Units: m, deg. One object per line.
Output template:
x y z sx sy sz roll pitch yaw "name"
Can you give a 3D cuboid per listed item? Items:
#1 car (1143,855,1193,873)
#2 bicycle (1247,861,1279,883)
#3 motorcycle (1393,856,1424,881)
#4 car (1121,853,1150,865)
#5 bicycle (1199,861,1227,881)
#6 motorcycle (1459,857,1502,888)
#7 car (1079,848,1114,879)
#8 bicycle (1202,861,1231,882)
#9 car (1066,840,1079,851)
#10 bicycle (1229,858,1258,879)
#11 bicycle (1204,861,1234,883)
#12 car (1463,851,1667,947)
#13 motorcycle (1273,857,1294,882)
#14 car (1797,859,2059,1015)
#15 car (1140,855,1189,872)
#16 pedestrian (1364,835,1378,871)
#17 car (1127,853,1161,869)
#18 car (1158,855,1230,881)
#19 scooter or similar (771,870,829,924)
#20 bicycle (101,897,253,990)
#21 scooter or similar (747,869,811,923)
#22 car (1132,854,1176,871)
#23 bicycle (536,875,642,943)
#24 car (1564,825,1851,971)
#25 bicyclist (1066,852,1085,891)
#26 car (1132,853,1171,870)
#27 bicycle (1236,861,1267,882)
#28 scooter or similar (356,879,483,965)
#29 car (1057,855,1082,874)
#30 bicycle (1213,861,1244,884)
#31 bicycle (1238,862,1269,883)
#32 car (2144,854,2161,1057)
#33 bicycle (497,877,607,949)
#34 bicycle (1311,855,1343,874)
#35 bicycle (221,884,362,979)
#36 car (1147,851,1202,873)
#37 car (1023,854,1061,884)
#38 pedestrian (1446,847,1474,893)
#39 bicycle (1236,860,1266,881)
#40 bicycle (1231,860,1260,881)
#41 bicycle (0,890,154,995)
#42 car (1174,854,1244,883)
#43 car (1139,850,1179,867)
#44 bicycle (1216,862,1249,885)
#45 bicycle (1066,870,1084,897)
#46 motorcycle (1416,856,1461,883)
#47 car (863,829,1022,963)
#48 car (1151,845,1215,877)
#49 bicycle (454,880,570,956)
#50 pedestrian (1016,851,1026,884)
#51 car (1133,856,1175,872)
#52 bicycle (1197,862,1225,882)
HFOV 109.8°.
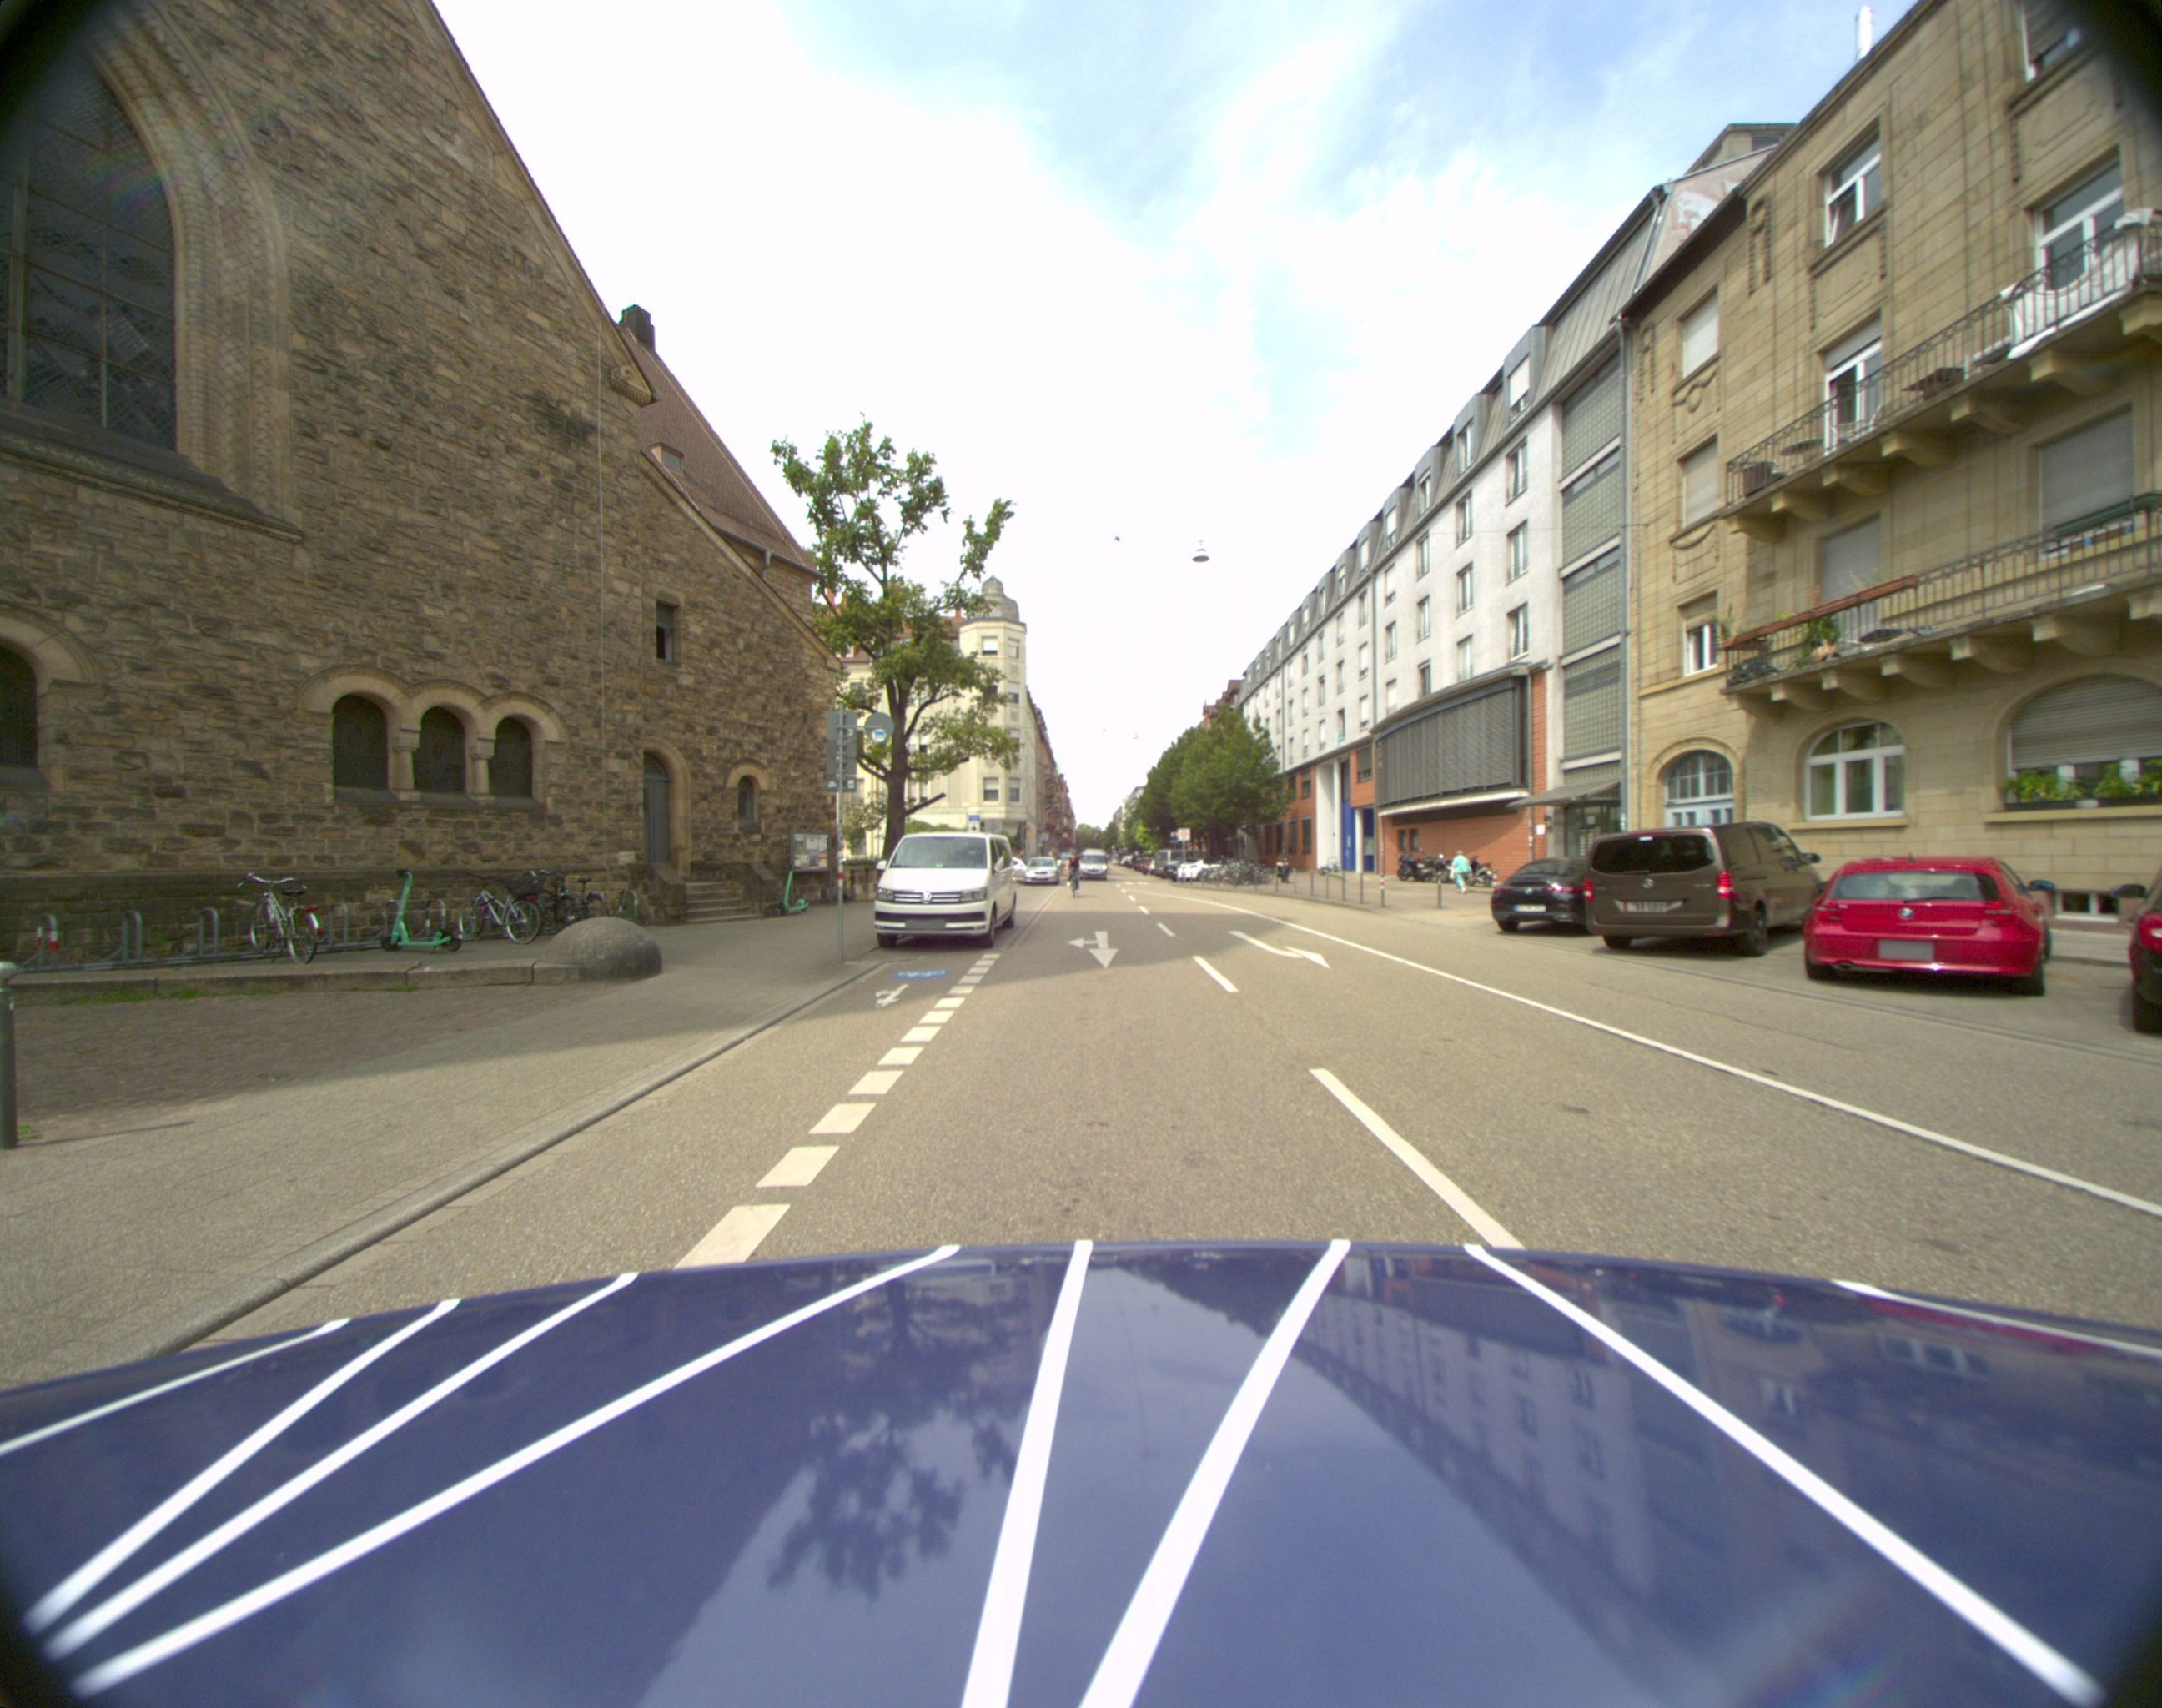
7.353 0.846 63.886 4.012 1.381 1.592 -1 -1 -32 "car"
8.662 0.841 36.121 1.409 1.020 0.402 -1 0 3 "bicycle"
14.299 0.607 33.207 0.585 1.042 1.657 -2 0 0 "motorcycle"
8.215 0.695 114.448 4.012 1.746 1.687 -1 -1 -32 "car"
7.066 0.914 40.679 1.409 1.020 0.402 -3 0 3 "bicycle"
14.212 0.635 27.086 0.585 1.042 1.794 -2 0 2 "motorcycle"
1.067 0.605 48.783 1.942 1.913 4.008 -1 -1 5 "car"
7.036 0.897 39.406 1.409 1.020 0.402 -3 0 3 "bicycle"
-1.279 -1.259 112.968 1.854 1.505 4.006 -1 -1 1 "car"
8.500 0.750 39.691 1.409 1.020 0.402 -1 0 3 "bicycle"
7.033 0.915 38.764 1.409 1.032 0.402 -3 0 3 "bicycle"
9.744 0.799 15.153 4.679 1.401 1.895 -4 0 -38 "car"
9.758 0.734 36.682 0.585 1.166 1.780 -2 0 3 "motorcycle"
10.111 0.787 8.996 4.020 1.401 1.792 -1 0 -38 "car"
7.270 0.834 66.100 4.012 1.445 1.687 -1 -1 -32 "car"
16.328 -0.077 42.801 0.729 2.002 0.783 0 0 20 "pedestrian"
7.976 0.900 96.338 4.012 1.846 1.687 -1 -1 -32 "car"
7.023 0.829 46.900 4.324 1.460 1.713 -1 0 -33 "car"
-6.553 0.979 17.789 0.545 1.200 1.444 0 0 14 "scooter or similar"
-10.504 1.005 8.824 1.778 0.951 0.547 0 0 20 "bicycle"
-7.163 0.964 18.093 0.545 1.200 1.483 0 0 21 "scooter or similar"
7.160 0.797 74.142 4.012 1.558 1.687 -1 -1 -32 "car"
-8.471 0.924 13.081 1.778 1.105 0.547 0 0 20 "bicycle"
10.229 0.557 12.269 5.280 1.899 2.116 -1 0 -33 "car"
-0.201 0.626 28.170 0.649 1.408 1.094 -1 0 2 "bicyclist"
7.776 0.813 83.215 4.052 1.846 1.687 -1 -1 -32 "car"
8.503 0.876 37.903 1.409 1.020 0.402 -1 0 3 "bicycle"
-9.401 0.930 10.792 1.778 1.133 0.547 0 0 20 "scooter or similar"
-1.007 0.937 68.024 1.853 1.661 4.008 -1 -1 5 "car"
7.124 0.904 36.760 1.409 1.032 0.402 -3 0 3 "bicycle"
8.473 0.910 37.367 1.409 1.020 0.402 -1 0 3 "bicycle"
10.255 0.762 6.264 4.004 1.494 1.627 -1 0 -34 "car"
-8.680 0.940 12.464 1.771 1.105 0.547 0 0 20 "bicycle"
14.298 0.613 44.168 1.613 0.920 0.932 -6 -1 13 "bicycle"
-10.053 0.949 9.670 1.778 1.105 0.547 0 0 20 "bicycle"
7.207 0.617 58.267 4.012 1.605 1.708 -1 -1 -32 "car"
-1.982 0.760 39.602 1.759 1.460 4.418 0 0 0 "car"
12.375 0.518 24.820 0.661 1.477 0.509 -1 0 2 "pedestrian"
8.574 0.854 38.387 1.409 1.020 0.402 -1 0 3 "bicycle"
8.497 0.845 39.206 1.409 1.020 0.402 -1 0 3 "bicycle"
-10.810 0.915 8.139 1.778 0.952 0.547 2 1 20 "bicycle"
7.508 0.823 44.429 4.013 1.536 1.598 -1 0 -33 "car"
8.280 0.495 80.737 4.012 1.672 1.687 -1 -1 -32 "car"
7.152 0.917 35.868 1.409 1.032 0.402 -3 0 3 "bicycle"
-0.222 1.087 28.073 0.586 0.927 1.783 -1 -1 2 "bicycle"
14.452 0.611 30.787 0.585 1.042 1.965 -2 0 -10 "motorcycle"
-2.303 0.619 14.054 2.019 2.017 5.122 1 0 0 "car"
7.097 0.476 52.704 4.011 1.986 1.857 -3 1 -30 "car"
-8.912 0.981 11.891 1.778 1.105 0.547 0 0 20 "bicycle"
-3.137 0.685 39.975 0.468 1.725 0.410 0 0 0 "pedestrian"
7.437 1.002 76.891 4.012 1.558 1.687 -1 -1 -32 "car"
7.085 0.972 41.487 1.409 1.020 0.402 -3 0 3 "bicycle"
